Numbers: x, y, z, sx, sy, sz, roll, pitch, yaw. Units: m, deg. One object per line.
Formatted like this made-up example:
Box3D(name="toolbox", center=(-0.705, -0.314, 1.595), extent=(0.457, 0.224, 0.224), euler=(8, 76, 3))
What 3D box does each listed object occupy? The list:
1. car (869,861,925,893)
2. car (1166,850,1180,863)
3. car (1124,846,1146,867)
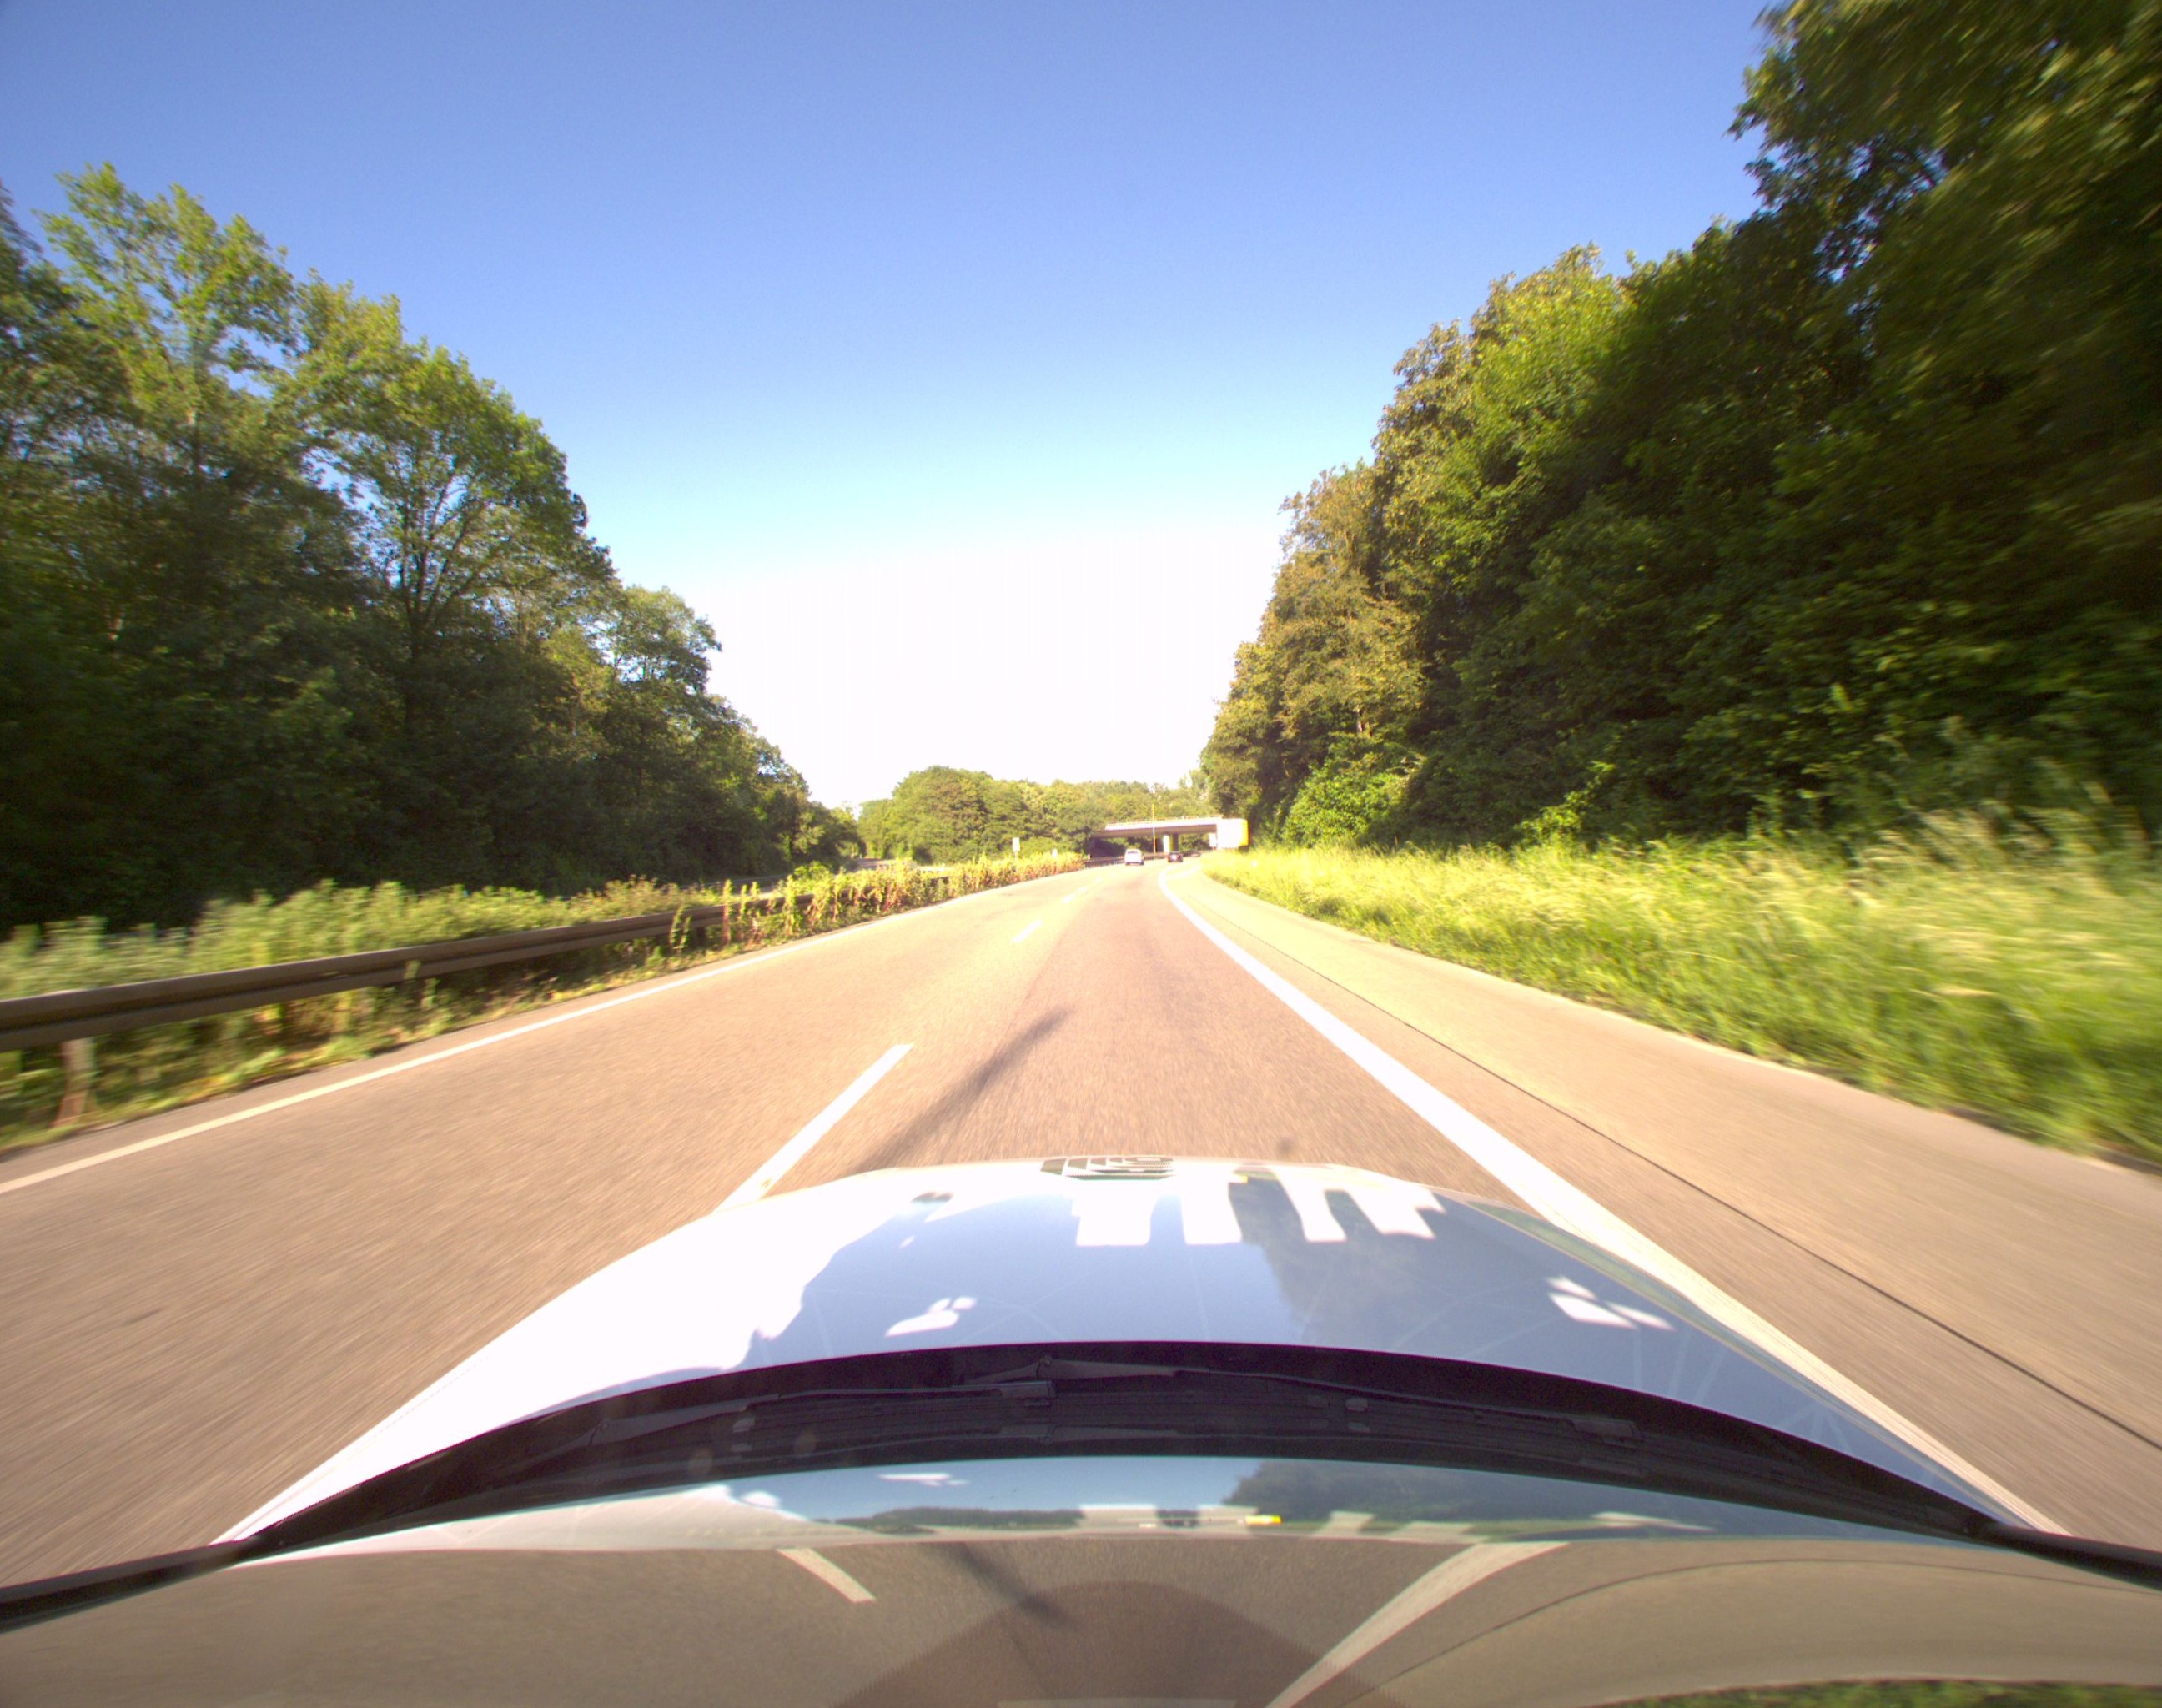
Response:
Box3D(name="car", center=(-11.979, 1.464, 53.464), extent=(2.035, 2.014, 4.772), euler=(-1, -1, 8))
Box3D(name="car", center=(12.532, 0.332, 110.753), extent=(1.730, 1.662, 3.952), euler=(-2, 0, 6))
Box3D(name="car", center=(6.176, 0.241, 92.902), extent=(1.981, 2.277, 4.012), euler=(-2, 0, 10))
